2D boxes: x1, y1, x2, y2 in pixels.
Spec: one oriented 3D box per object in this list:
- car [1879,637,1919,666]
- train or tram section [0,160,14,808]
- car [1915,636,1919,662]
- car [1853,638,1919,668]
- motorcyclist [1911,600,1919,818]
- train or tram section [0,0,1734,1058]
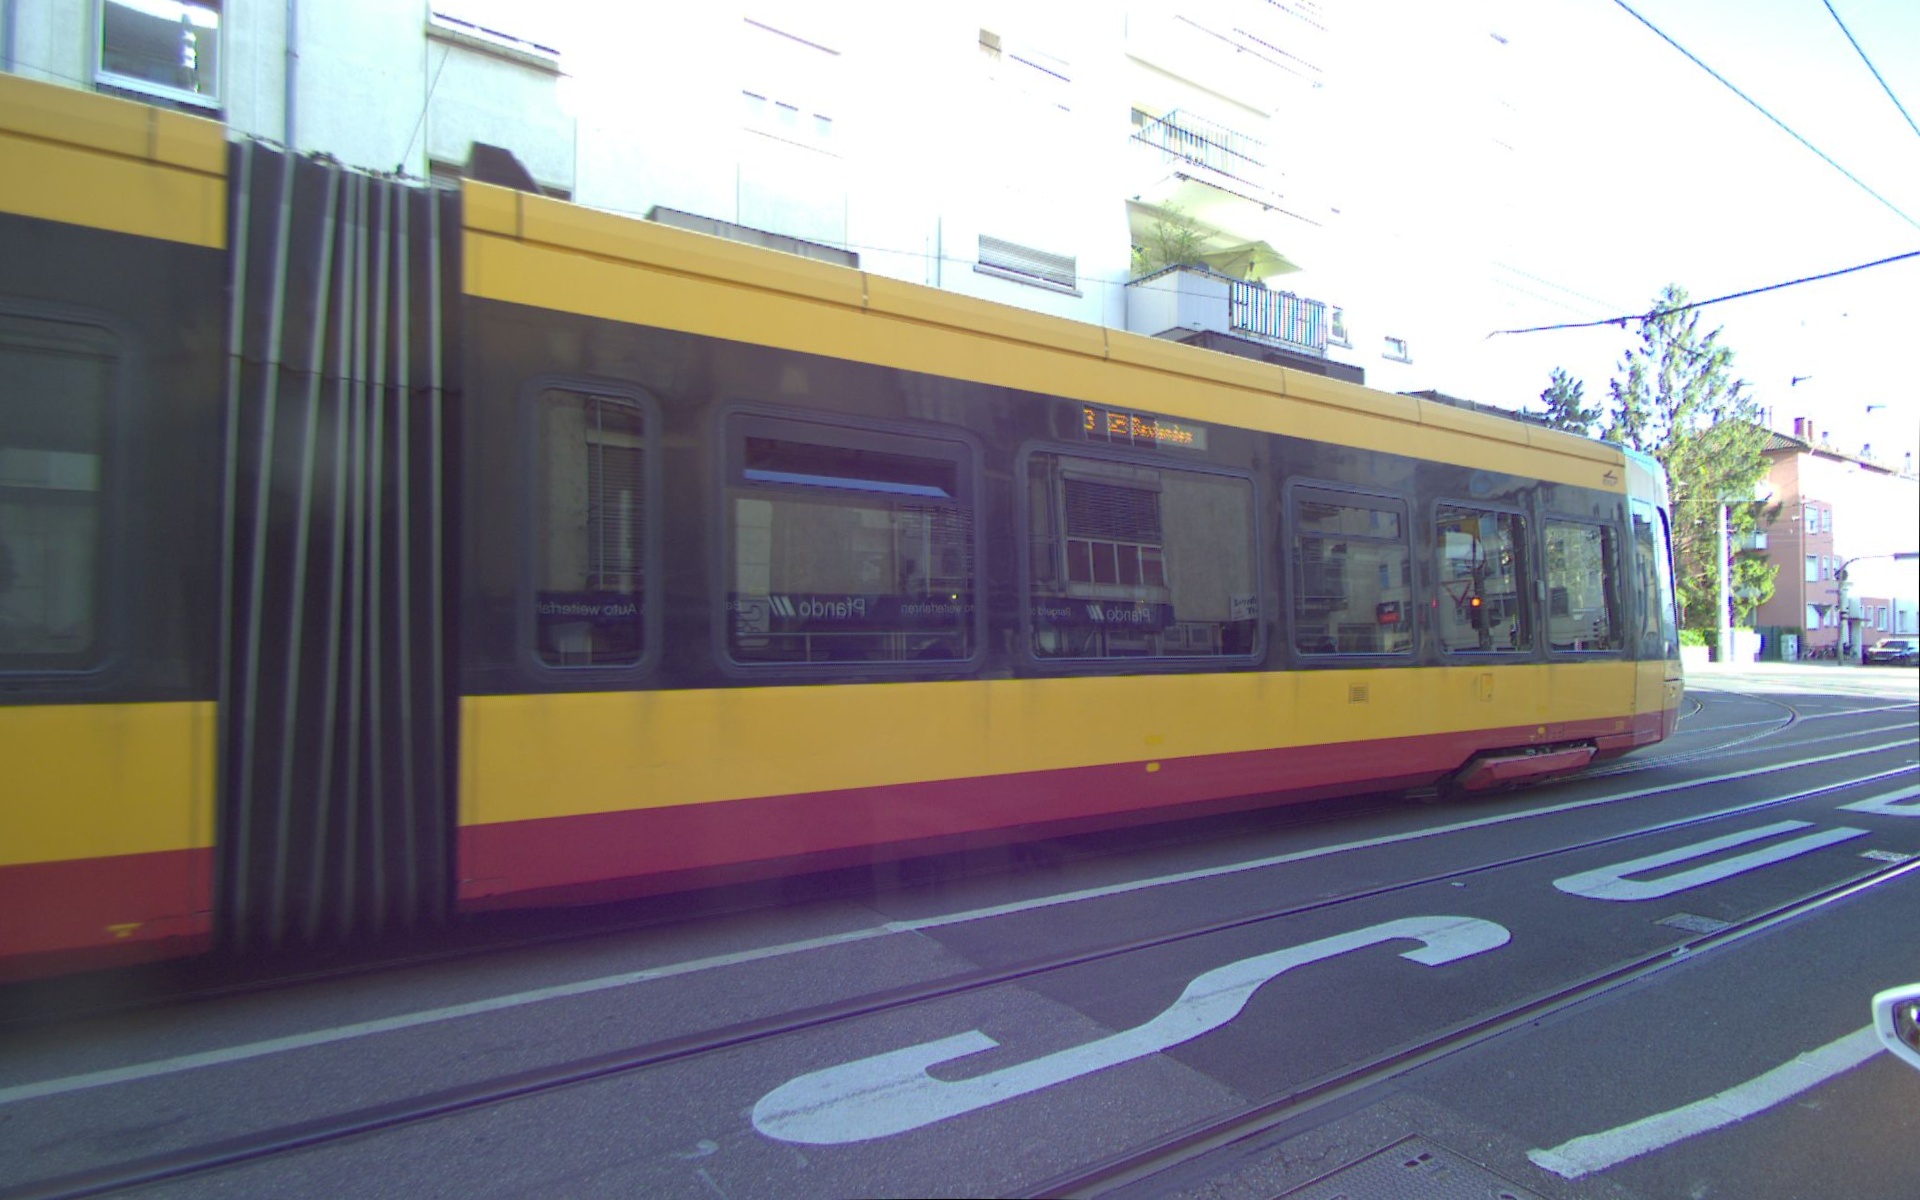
[{"bbox_3d":[53.626,2.893,56.412,4.250,1.518,1.806,2,0,-30],"label":"car"},{"bbox_3d":[-7.977,-0.457,1.579,8.987,3.679,2.808,2,0,-33],"label":"train or tram section"},{"bbox_3d":[58.413,2.964,59.405,4.103,1.531,1.778,2,0,-31],"label":"car"},{"bbox_3d":[49.590,2.827,53.581,3.949,1.440,1.784,2,0,-31],"label":"car"},{"bbox_3d":[7.156,0.772,6.820,0.591,1.525,0.856,2,0,-30],"label":"motorcyclist"},{"bbox_3d":[1.770,-0.221,8.067,14.117,3.680,2.728,2,0,-34],"label":"train or tram section"}]
